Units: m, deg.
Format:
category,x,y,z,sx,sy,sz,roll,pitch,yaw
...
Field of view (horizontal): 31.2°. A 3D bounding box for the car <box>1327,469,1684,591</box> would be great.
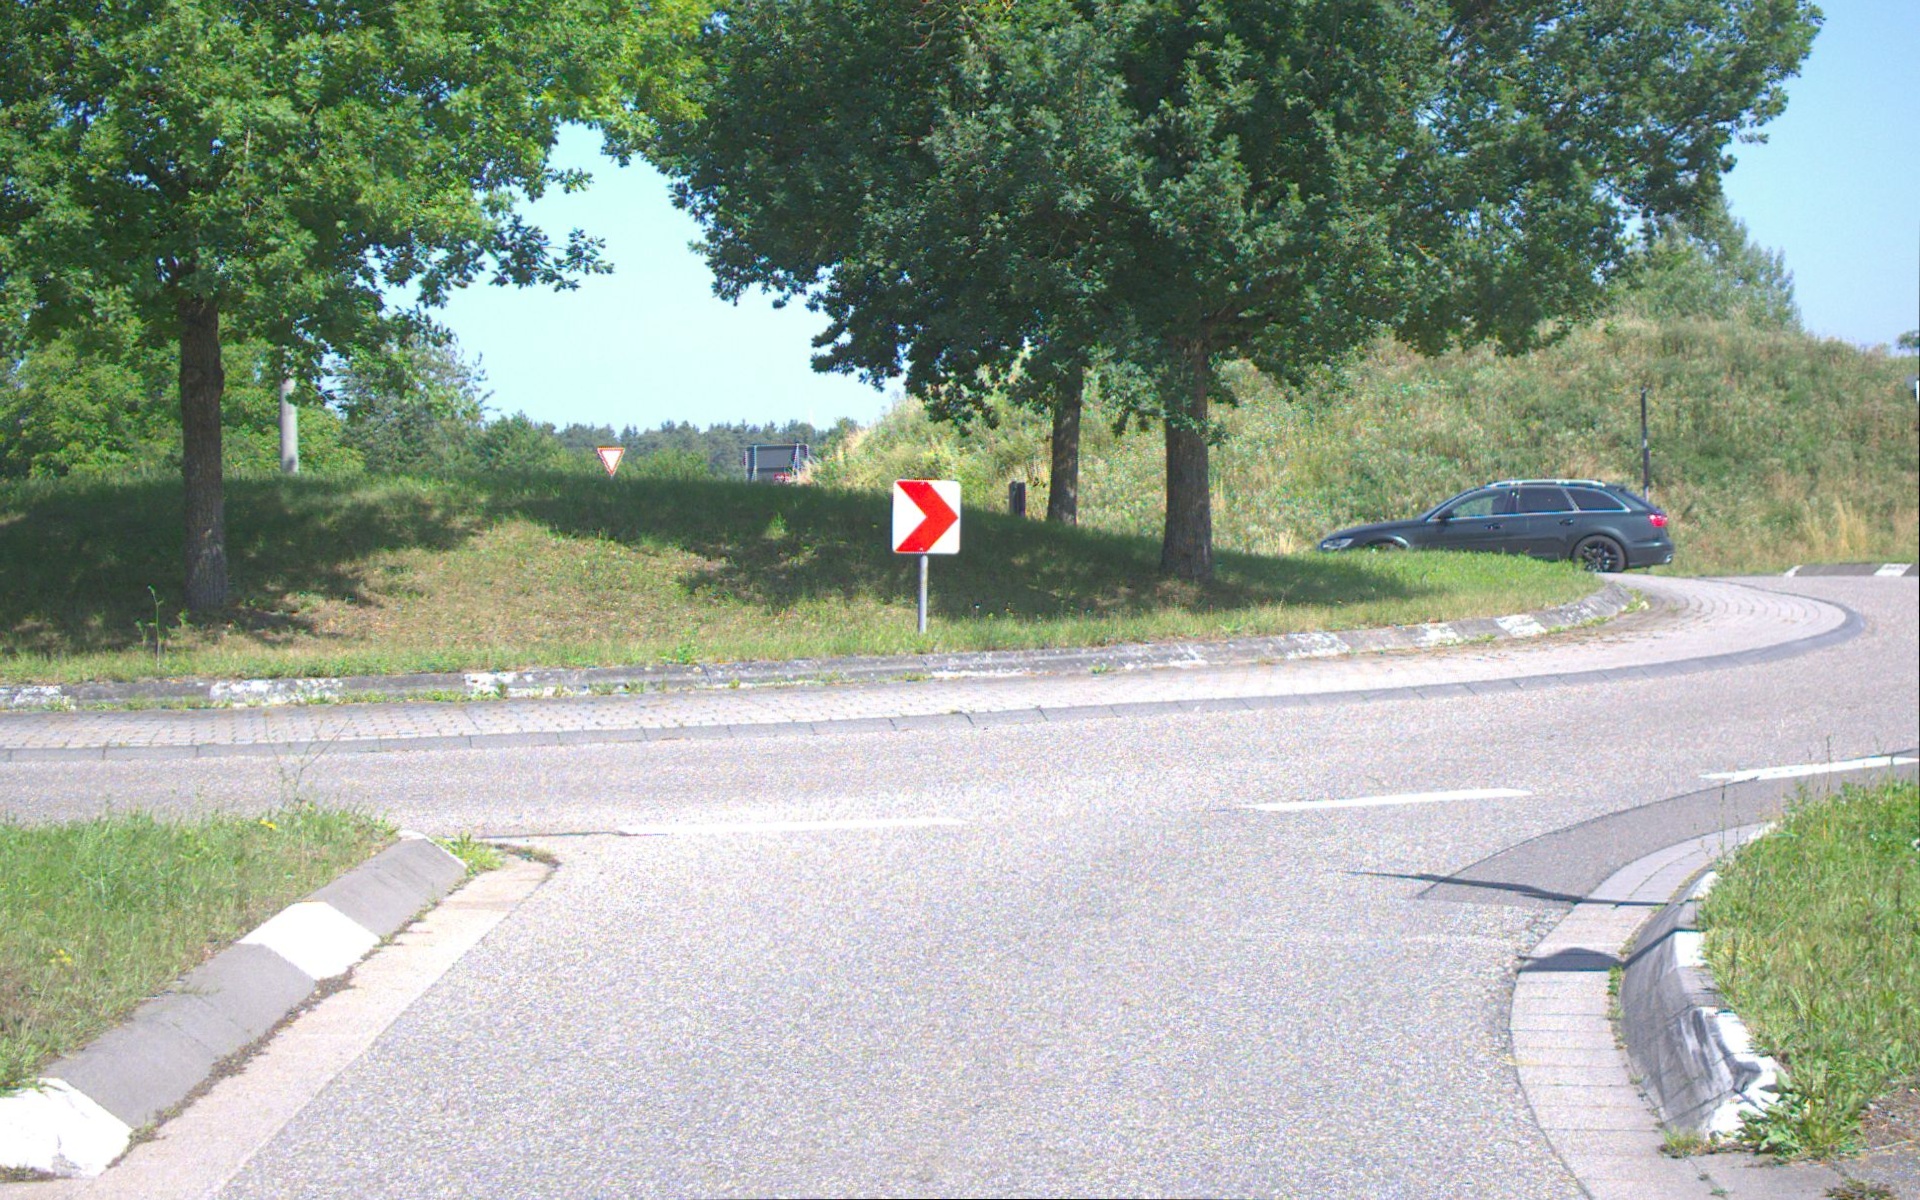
category,x,y,z,sx,sy,sz,roll,pitch,yaw
car,7.463,-0.975,47.409,4.760,1.587,2.000,0,2,6
